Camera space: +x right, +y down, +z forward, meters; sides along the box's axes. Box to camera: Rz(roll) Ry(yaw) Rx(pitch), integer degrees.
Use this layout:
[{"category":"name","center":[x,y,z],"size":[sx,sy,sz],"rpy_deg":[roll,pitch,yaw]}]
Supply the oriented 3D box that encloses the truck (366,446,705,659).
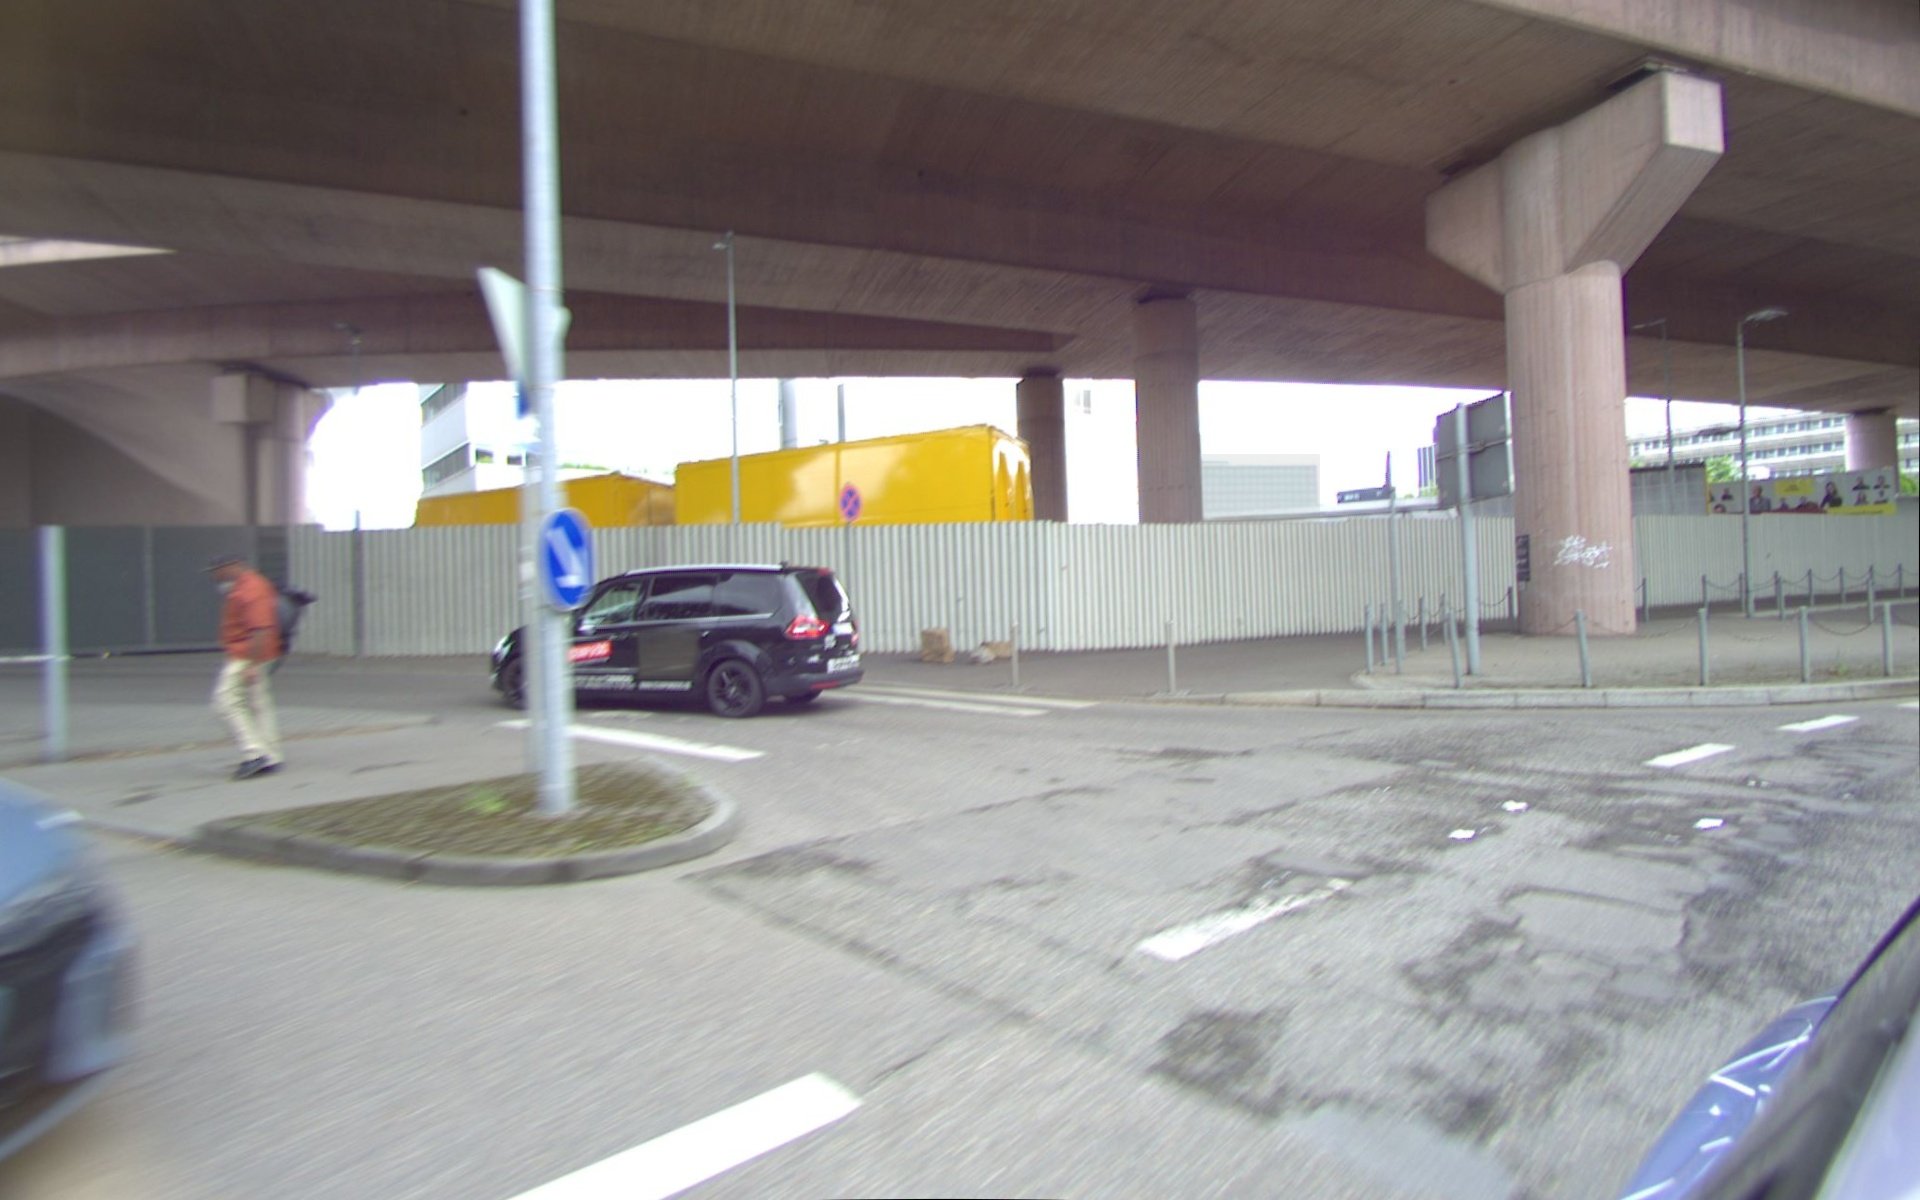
[{"category":"truck","center":[-11.383,-1.041,27.043],"size":[8.615,4.966,3.124],"rpy_deg":[-2,-1,23]}]

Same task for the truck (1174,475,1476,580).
[{"category":"truck","center":[11.394,-2.201,32.118],"size":[8.619,2.979,3.125],"rpy_deg":[0,3,23]}]

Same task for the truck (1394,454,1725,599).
[{"category":"truck","center":[20.754,-2.423,35.915],"size":[9.606,4.498,3.127],"rpy_deg":[-1,1,21]}]

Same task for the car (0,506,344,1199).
[{"category":"car","center":[-4.328,0.608,2.971],"size":[4.886,1.520,2.152],"rpy_deg":[-1,0,29]}]

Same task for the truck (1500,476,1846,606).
[{"category":"truck","center":[25.798,-2.020,37.391],"size":[9.947,4.235,2.878],"rpy_deg":[-1,1,22]}]

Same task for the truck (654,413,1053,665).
[{"category":"truck","center":[-2.509,-1.134,23.326],"size":[8.615,4.980,3.124],"rpy_deg":[-2,-1,23]}]

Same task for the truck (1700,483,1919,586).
[{"category":"truck","center":[40.807,-2.970,46.689],"size":[10.176,4.357,2.991],"rpy_deg":[-1,1,22]}]

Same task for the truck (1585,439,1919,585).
[{"category":"truck","center":[30.355,-3.221,39.455],"size":[9.606,4.985,3.127],"rpy_deg":[-1,0,21]}]

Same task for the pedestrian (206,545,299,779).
[{"category":"pedestrian","center":[-5.374,0.444,7.711],"size":[0.547,1.697,0.538],"rpy_deg":[0,0,-32]}]

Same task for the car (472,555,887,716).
[{"category":"car","center":[-3.351,0.396,12.311],"size":[4.497,1.700,1.990],"rpy_deg":[-1,1,17]}]
